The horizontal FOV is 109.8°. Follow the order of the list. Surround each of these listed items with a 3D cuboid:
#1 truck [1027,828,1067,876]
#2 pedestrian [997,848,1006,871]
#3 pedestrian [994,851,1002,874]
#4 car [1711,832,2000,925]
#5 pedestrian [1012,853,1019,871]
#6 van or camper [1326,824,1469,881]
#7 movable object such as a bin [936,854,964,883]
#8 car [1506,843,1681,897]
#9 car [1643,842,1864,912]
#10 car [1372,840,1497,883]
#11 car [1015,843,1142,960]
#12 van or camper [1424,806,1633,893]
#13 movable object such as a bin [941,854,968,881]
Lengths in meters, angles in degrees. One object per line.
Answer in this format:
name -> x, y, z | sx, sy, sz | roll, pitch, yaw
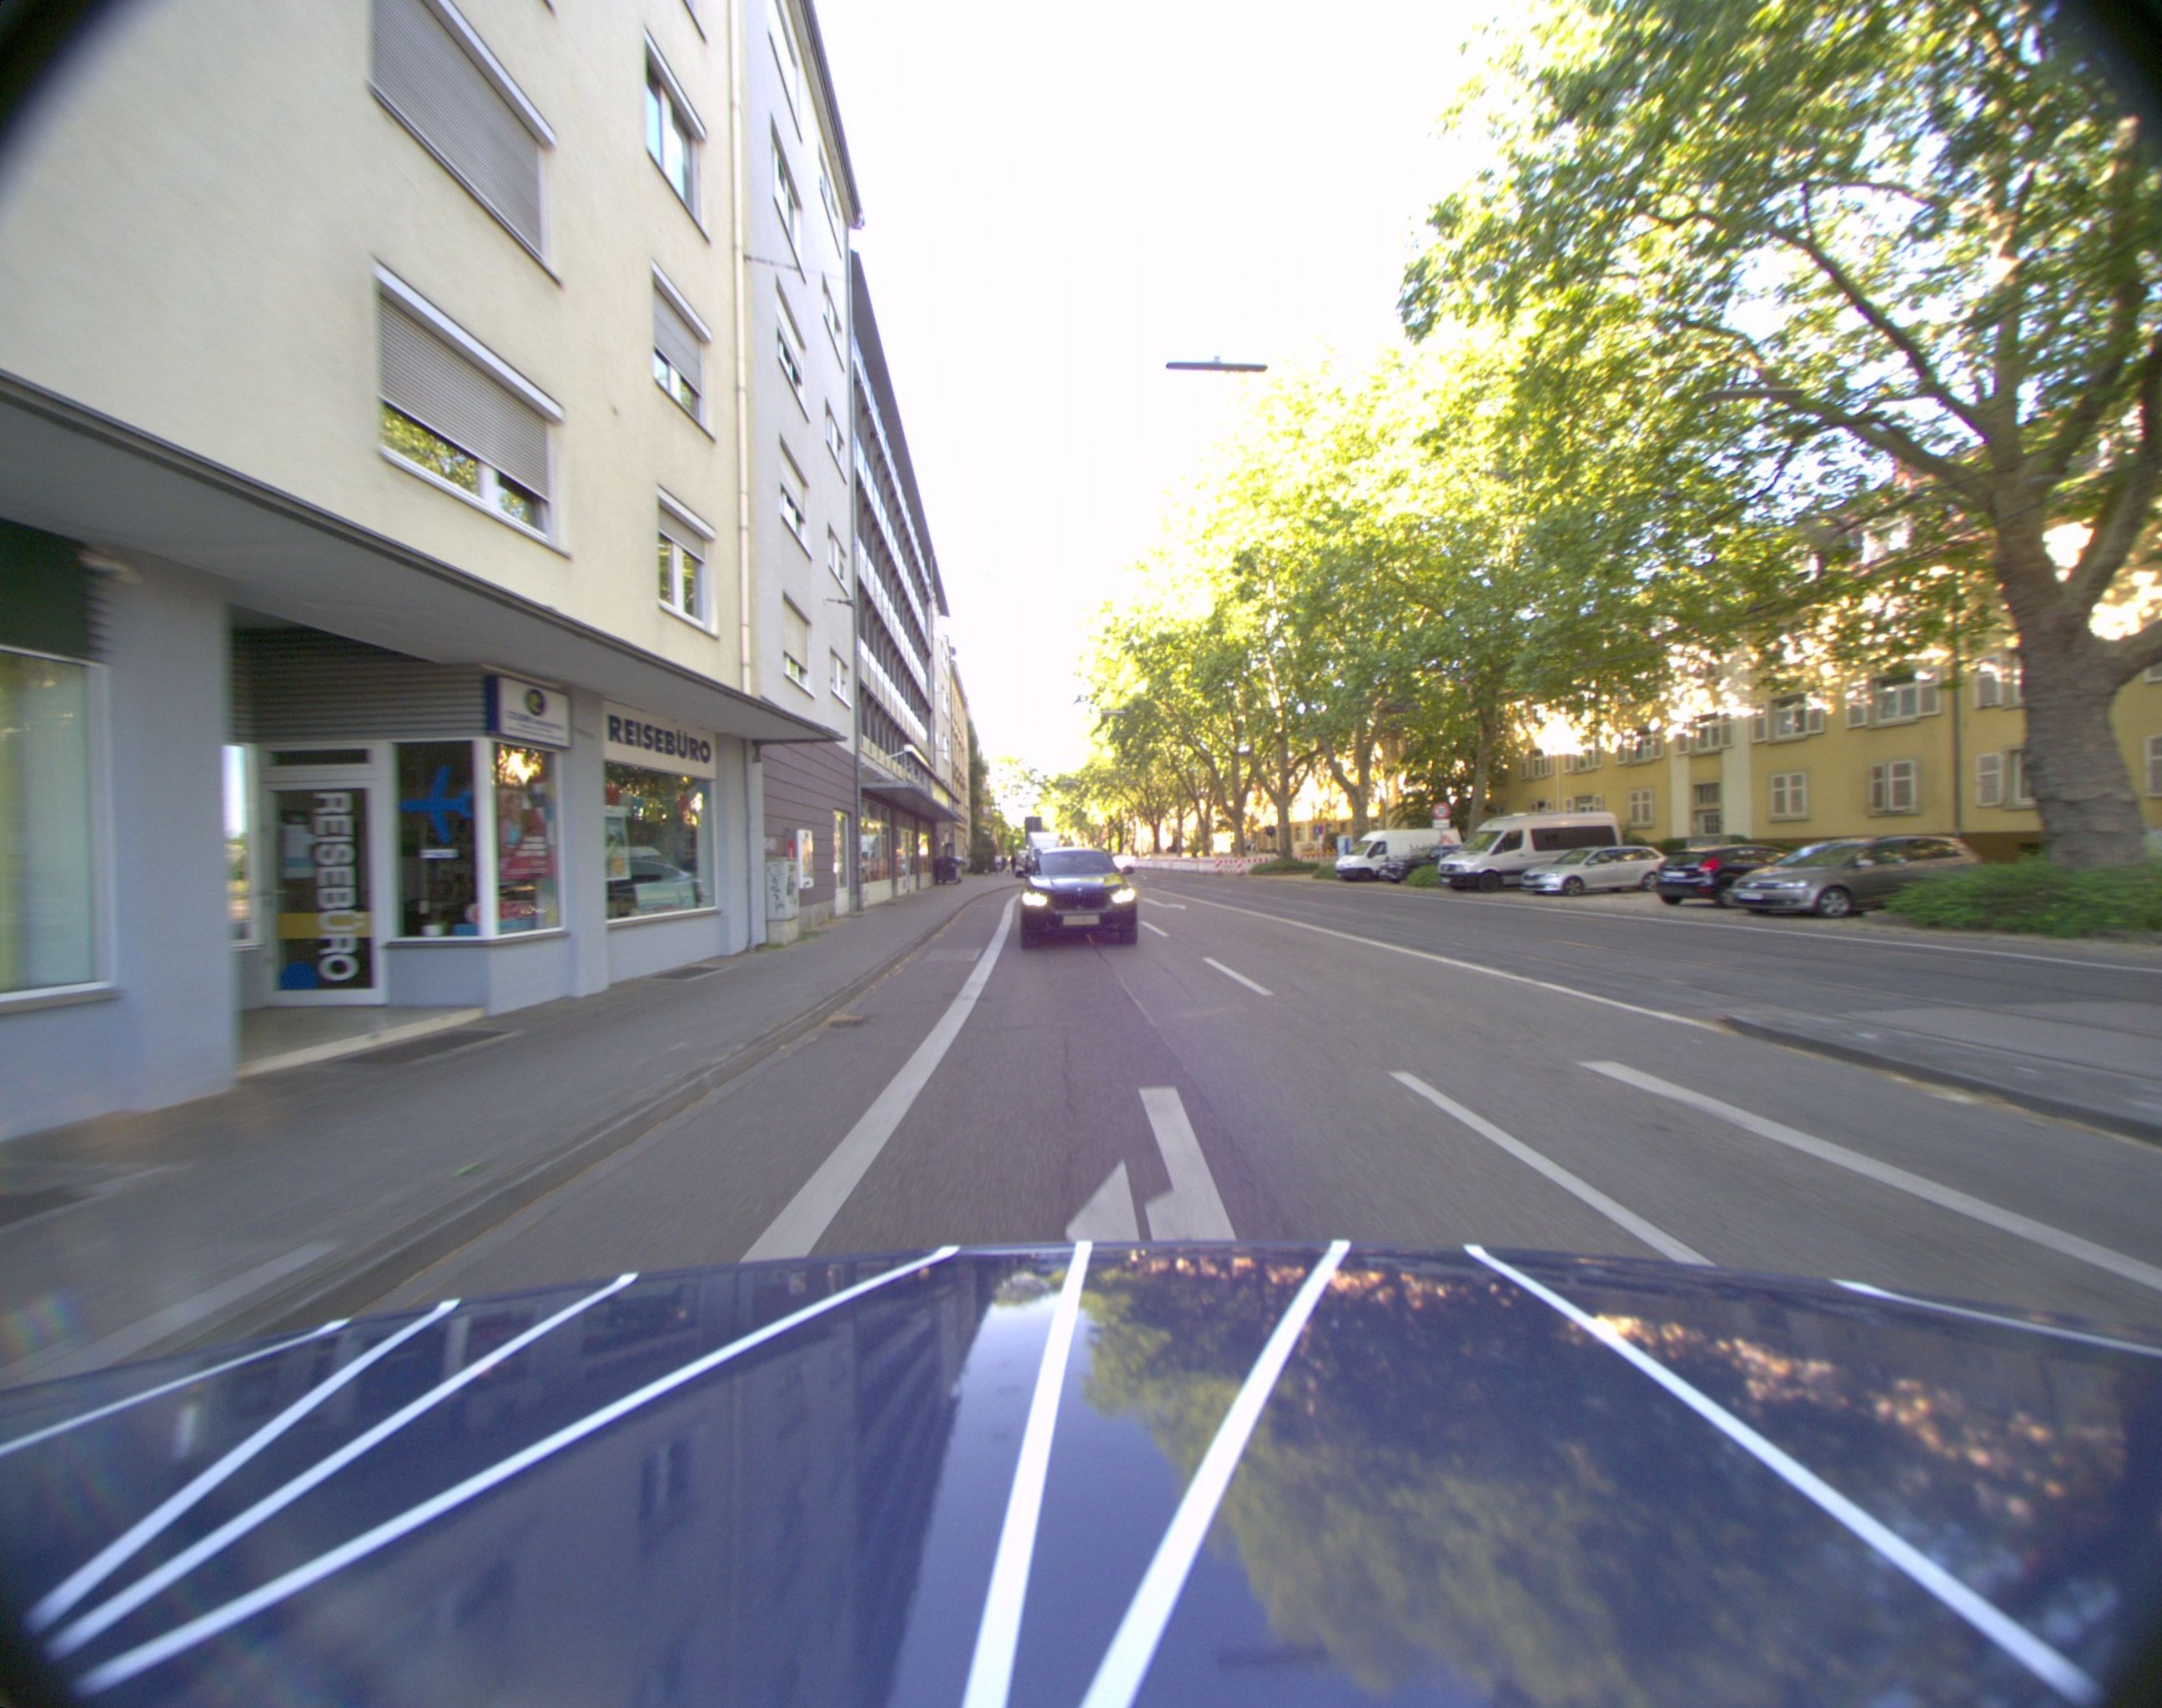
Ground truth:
truck -> -2.450, -0.163, 53.516 | 2.344, 3.096, 5.208 | -3, 1, -7
pedestrian -> -5.763, 0.367, 55.271 | 0.541, 1.662, 0.630 | -1, 1, -2
pedestrian -> -6.254, 0.630, 57.401 | 0.541, 1.712, 0.630 | -1, 1, -2
car -> 15.639, 0.456, 15.493 | 4.081, 1.610, 1.844 | -2, 2, -2
pedestrian -> -5.244, 0.666, 60.840 | 0.541, 1.437, 0.630 | -1, 1, -2
van or camper -> 14.721, -0.097, 35.512 | 5.764, 2.371, 2.155 | -2, 2, -3
movable object such as a bin -> -6.569, 0.729, 38.253 | 1.204, 1.402, 1.371 | -1, 1, -2
car -> 15.736, 0.464, 23.466 | 4.277, 1.438, 1.693 | -2, 1, -2
car -> 16.011, 0.507, 18.211 | 3.862, 1.438, 1.693 | -2, 1, -2
car -> 14.992, 0.292, 32.354 | 4.541, 1.624, 1.693 | -2, 2, -2
car -> -0.100, 0.722, 14.362 | 1.931, 1.742, 4.681 | -2, 1, -2
van or camper -> 15.288, -0.174, 26.164 | 5.933, 2.633, 2.155 | -2, 2, -3
movable object such as a bin -> -6.686, 0.691, 40.248 | 1.204, 1.402, 1.371 | -1, 1, -2
